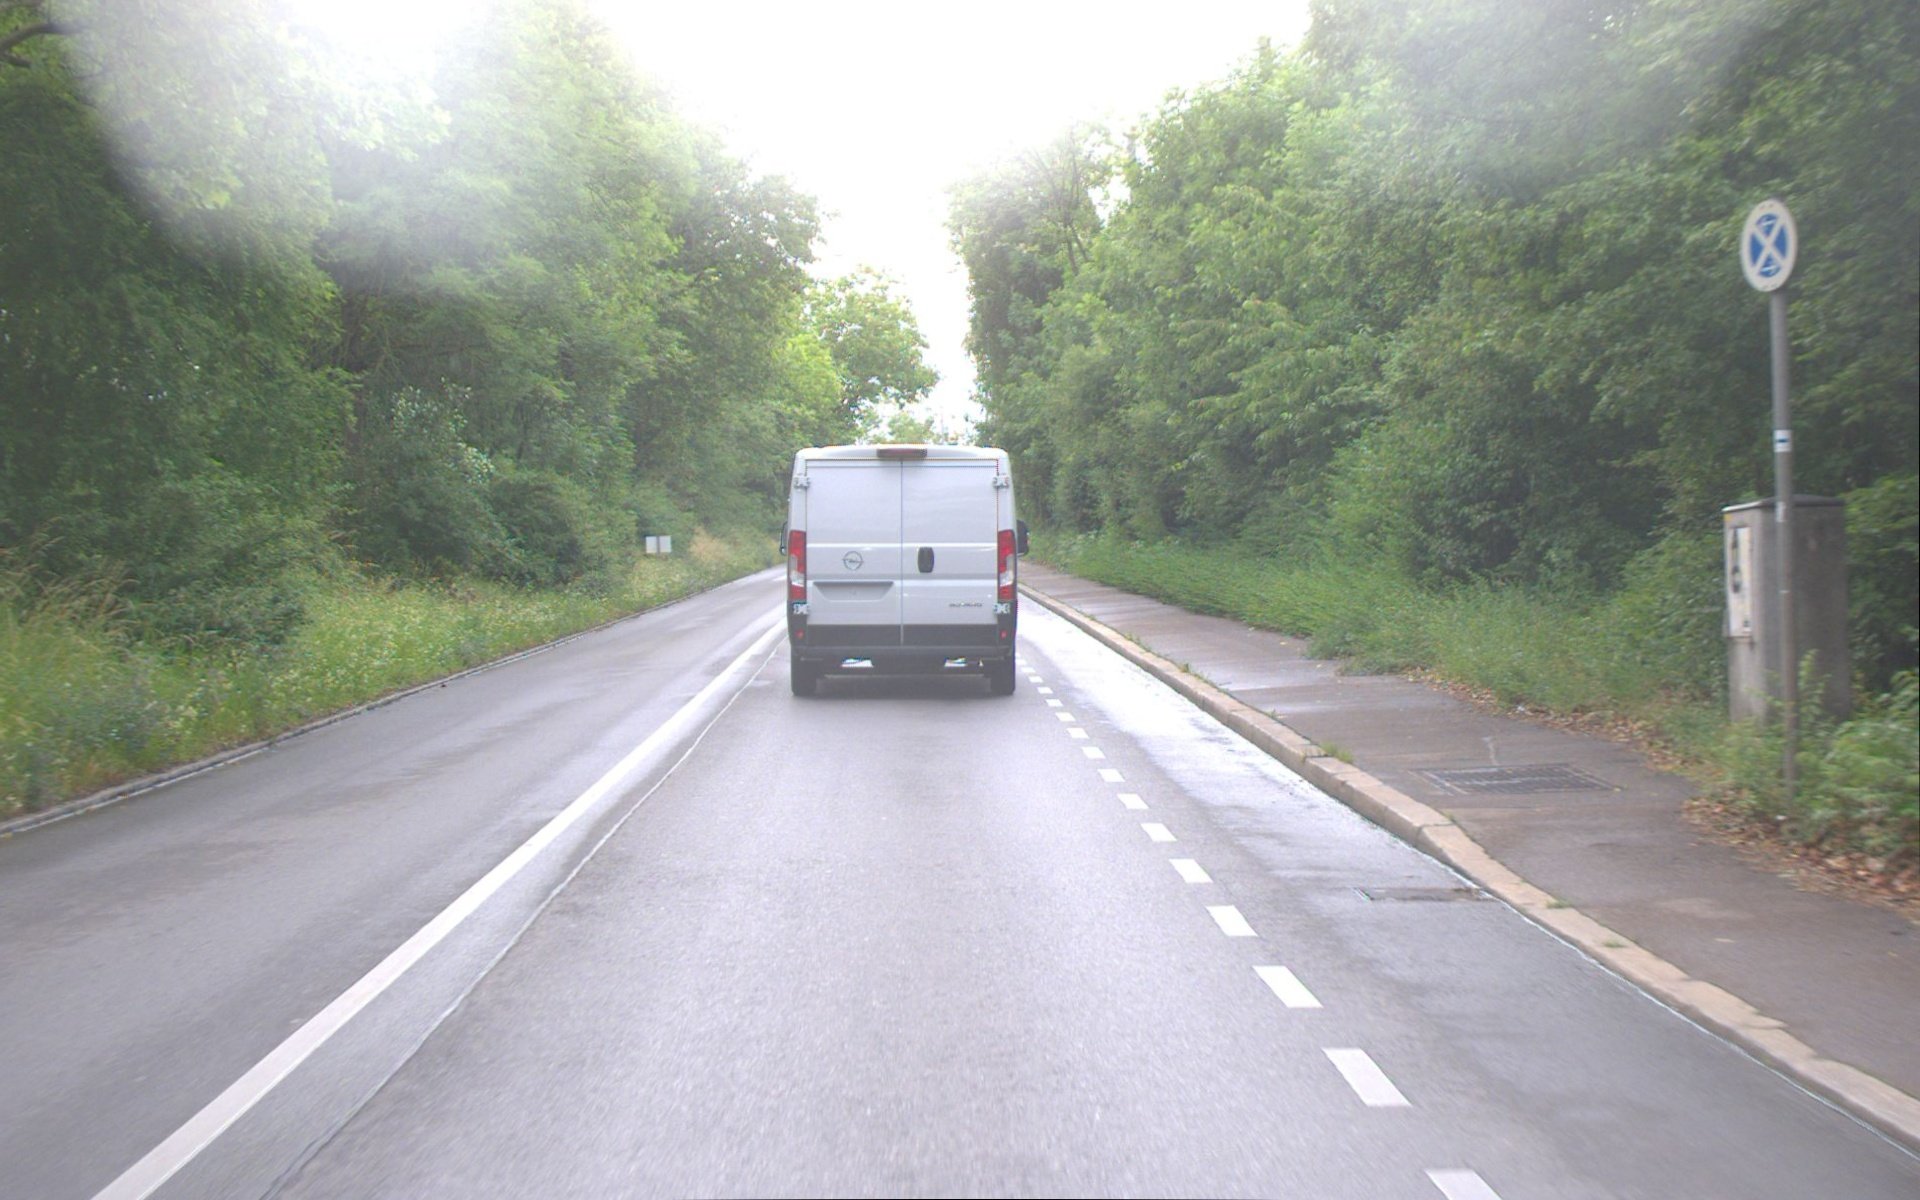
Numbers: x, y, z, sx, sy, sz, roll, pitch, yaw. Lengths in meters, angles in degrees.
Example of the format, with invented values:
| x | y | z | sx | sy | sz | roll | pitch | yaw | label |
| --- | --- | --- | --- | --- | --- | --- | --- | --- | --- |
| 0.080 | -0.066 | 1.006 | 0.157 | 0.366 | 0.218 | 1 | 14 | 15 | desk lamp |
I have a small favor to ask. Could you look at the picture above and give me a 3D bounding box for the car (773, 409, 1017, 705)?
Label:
| x | y | z | sx | sy | sz | roll | pitch | yaw | label |
| --- | --- | --- | --- | --- | --- | --- | --- | --- | --- |
| -0.585 | -0.451 | 32.241 | 2.050 | 2.508 | 4.944 | 2 | 2 | -1 | car |
